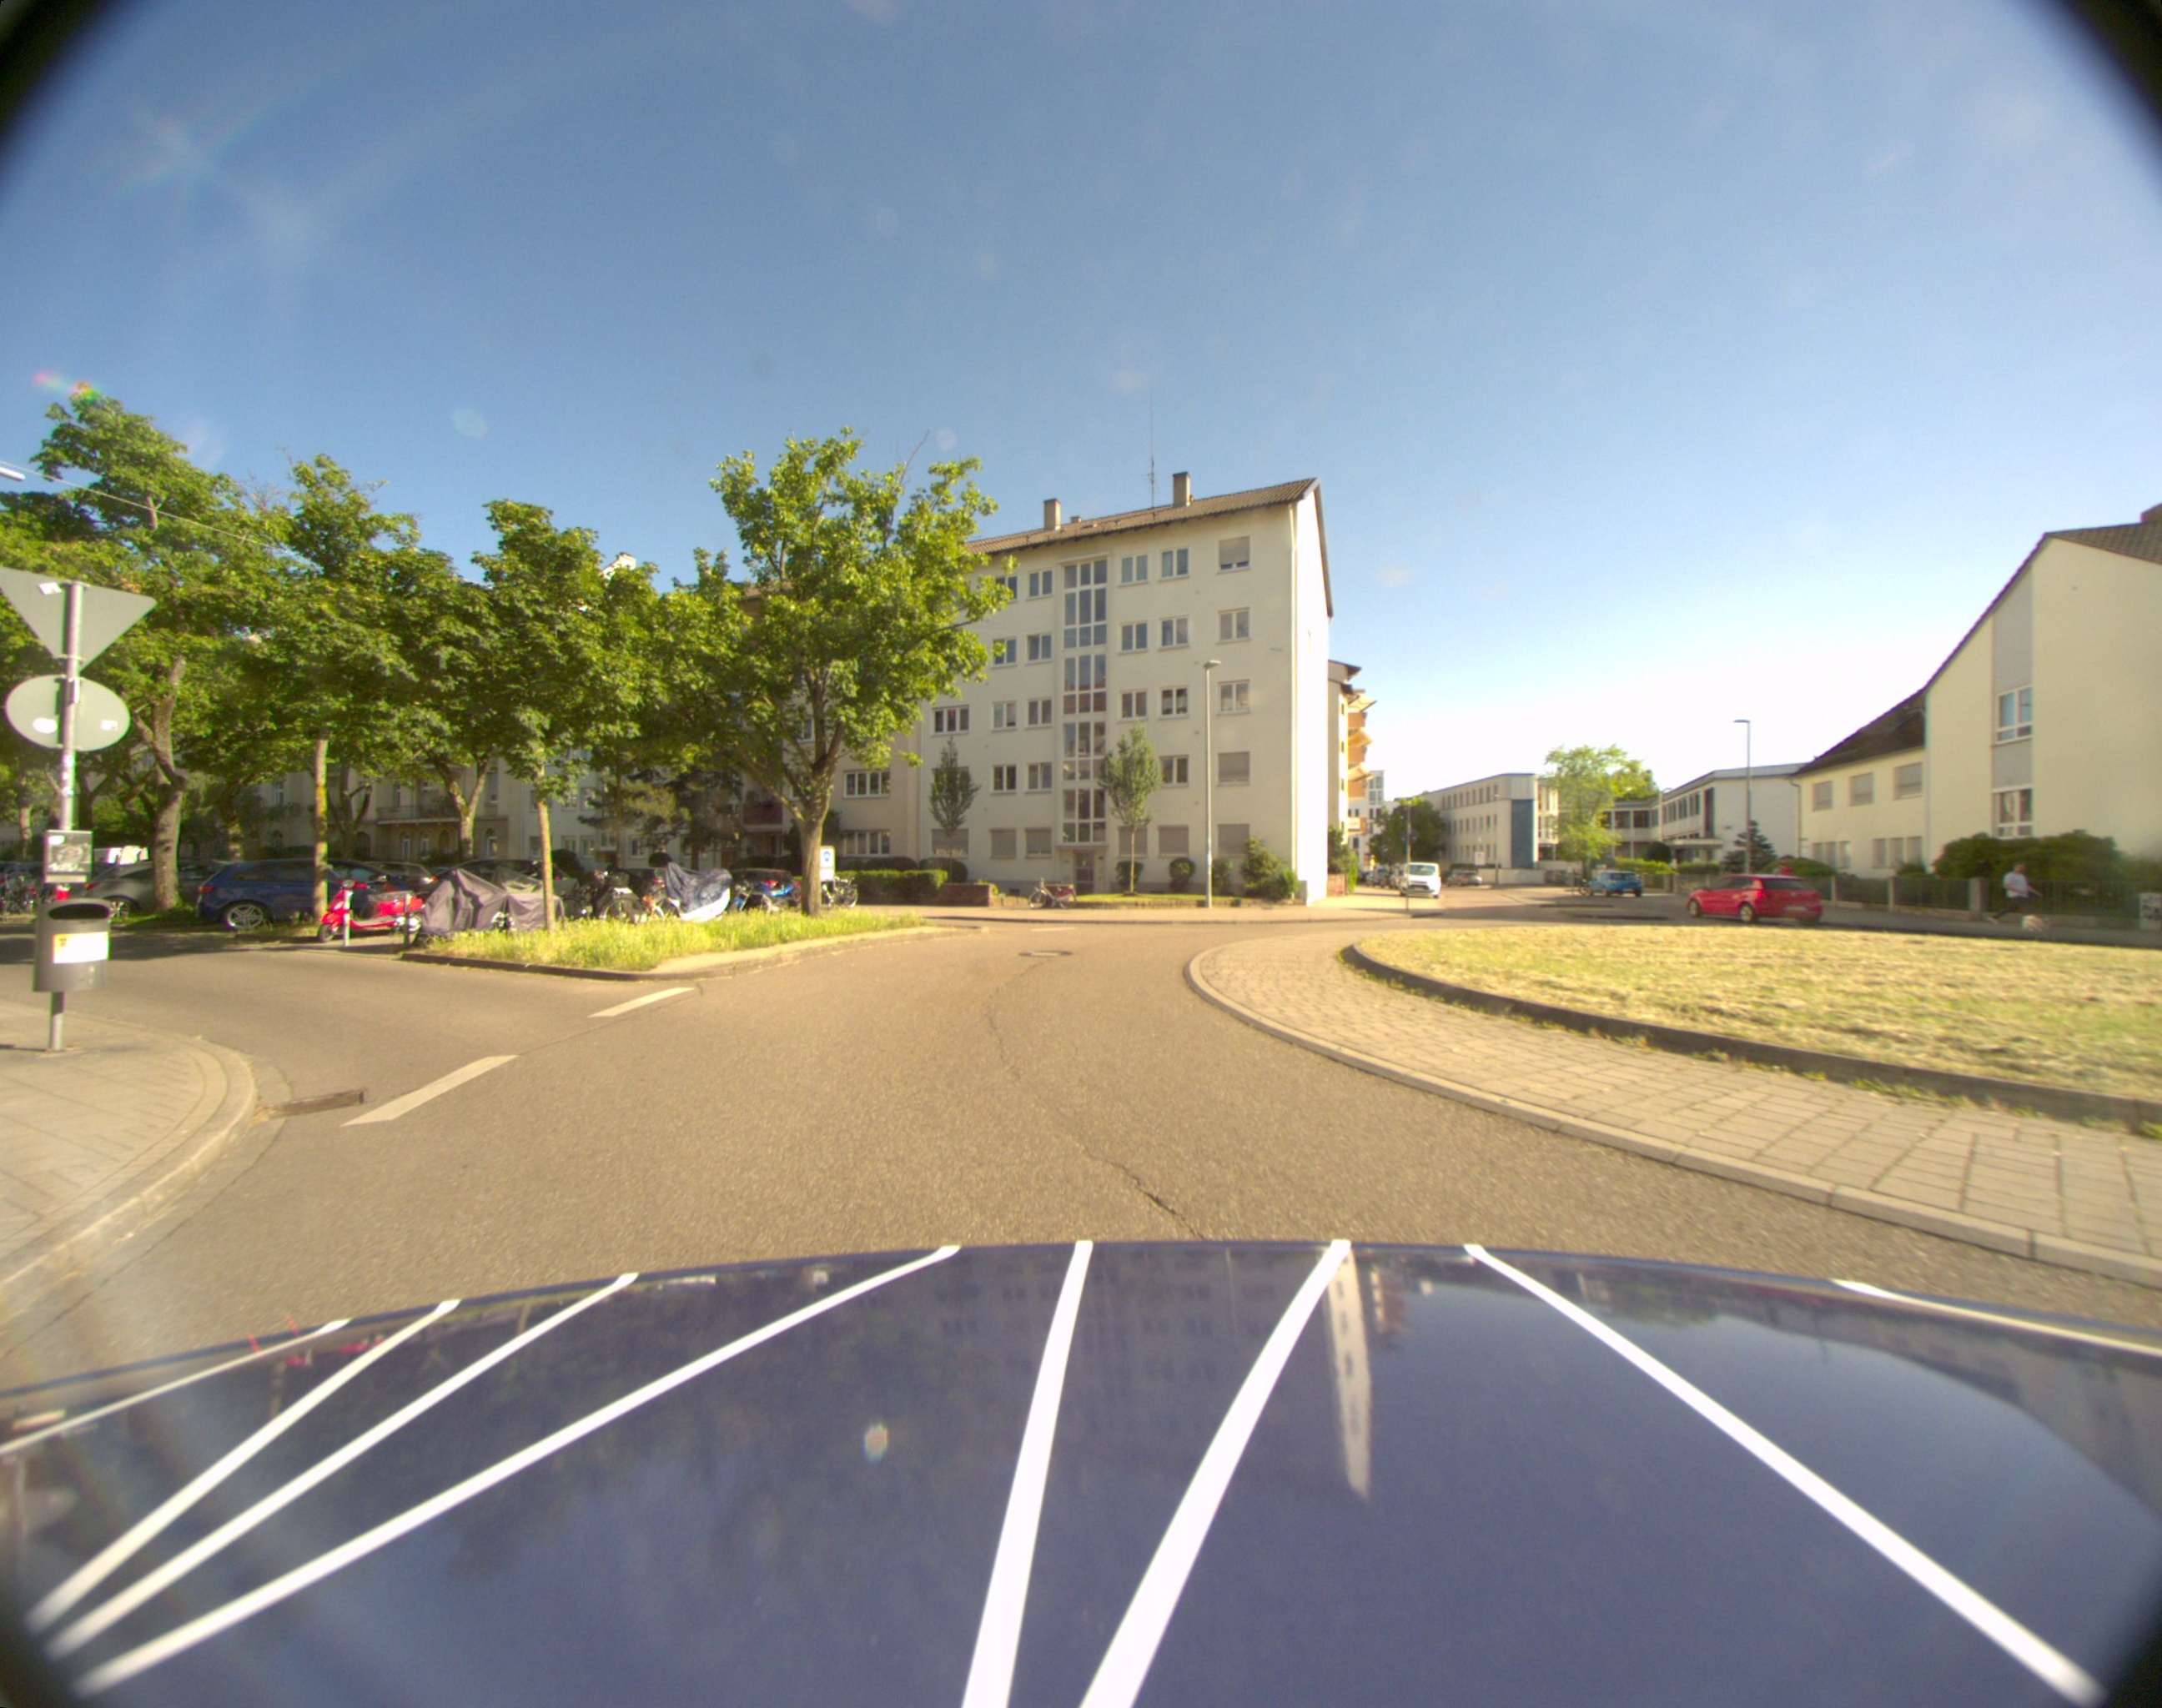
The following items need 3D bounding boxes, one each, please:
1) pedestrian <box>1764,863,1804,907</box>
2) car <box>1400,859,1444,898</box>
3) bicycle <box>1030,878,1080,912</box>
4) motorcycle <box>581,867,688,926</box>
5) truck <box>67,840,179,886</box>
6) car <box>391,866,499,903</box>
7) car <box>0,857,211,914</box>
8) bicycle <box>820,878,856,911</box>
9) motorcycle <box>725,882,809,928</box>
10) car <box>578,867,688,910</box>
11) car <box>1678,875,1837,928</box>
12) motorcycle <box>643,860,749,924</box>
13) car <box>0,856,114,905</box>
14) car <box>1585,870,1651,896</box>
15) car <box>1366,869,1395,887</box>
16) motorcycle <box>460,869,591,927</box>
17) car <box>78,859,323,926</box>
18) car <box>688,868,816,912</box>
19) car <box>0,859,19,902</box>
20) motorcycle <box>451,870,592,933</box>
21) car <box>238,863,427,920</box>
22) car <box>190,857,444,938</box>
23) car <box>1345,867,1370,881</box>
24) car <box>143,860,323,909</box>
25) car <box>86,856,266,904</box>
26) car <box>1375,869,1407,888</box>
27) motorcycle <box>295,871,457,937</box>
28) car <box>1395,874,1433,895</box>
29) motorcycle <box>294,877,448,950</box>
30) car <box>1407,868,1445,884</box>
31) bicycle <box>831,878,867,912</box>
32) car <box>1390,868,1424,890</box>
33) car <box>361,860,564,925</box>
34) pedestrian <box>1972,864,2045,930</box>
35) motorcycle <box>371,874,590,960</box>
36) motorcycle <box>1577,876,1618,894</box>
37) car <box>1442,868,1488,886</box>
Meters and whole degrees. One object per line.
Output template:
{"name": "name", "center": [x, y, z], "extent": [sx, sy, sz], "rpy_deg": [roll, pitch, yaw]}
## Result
{"name": "pedestrian", "center": [27.932, 1.229, 30.197], "extent": [0.818, 1.695, 0.999], "rpy_deg": [-1, -1, 21]}
{"name": "car", "center": [19.454, 1.376, 43.193], "extent": [1.994, 2.002, 4.807], "rpy_deg": [3, 0, 26]}
{"name": "bicycle", "center": [-0.863, 1.365, 25.511], "extent": [1.621, 1.072, 0.385], "rpy_deg": [0, 2, 17]}
{"name": "motorcycle", "center": [-11.234, 1.022, 19.206], "extent": [1.060, 1.384, 2.131], "rpy_deg": [0, 0, 21]}
{"name": "truck", "center": [-57.494, 0.544, 45.616], "extent": [5.893, 2.660, 2.416], "rpy_deg": [0, -1, 20]}
{"name": "car", "center": [-27.516, 1.297, 32.895], "extent": [3.991, 1.476, 1.788], "rpy_deg": [0, -1, 20]}
{"name": "car", "center": [-29.265, 0.897, 22.766], "extent": [4.009, 1.581, 1.881], "rpy_deg": [1, -1, -42]}
{"name": "bicycle", "center": [-8.449, 1.391, 26.438], "extent": [0.330, 1.051, 1.452], "rpy_deg": [0, 2, 21]}
{"name": "motorcycle", "center": [-7.691, 1.223, 18.692], "extent": [0.812, 1.066, 1.849], "rpy_deg": [0, -2, 23]}
{"name": "car", "center": [-16.914, 1.277, 28.643], "extent": [3.989, 1.476, 1.789], "rpy_deg": [0, -2, 30]}
{"name": "car", "center": [20.198, 1.347, 22.938], "extent": [1.714, 1.374, 4.004], "rpy_deg": [2, -1, 10]}
{"name": "motorcycle", "center": [-8.443, 0.798, 16.778], "extent": [0.861, 1.320, 2.057], "rpy_deg": [0, 0, 20]}
{"name": "car", "center": [-35.330, 0.864, 25.027], "extent": [4.009, 1.581, 1.881], "rpy_deg": [1, -1, -42]}
{"name": "car", "center": [30.790, 1.636, 43.683], "extent": [1.882, 1.425, 4.421], "rpy_deg": [-1, -2, 18]}
{"name": "car", "center": [28.434, 2.257, 72.259], "extent": [1.756, 1.445, 4.003], "rpy_deg": [4, 0, 10]}
{"name": "motorcycle", "center": [-12.974, 0.991, 17.850], "extent": [1.049, 1.260, 2.246], "rpy_deg": [0, -1, 23]}
{"name": "car", "center": [-22.803, 0.951, 19.946], "extent": [4.009, 1.581, 1.702], "rpy_deg": [1, -1, -42]}
{"name": "car", "center": [-11.507, 1.222, 26.596], "extent": [3.990, 1.403, 1.836], "rpy_deg": [0, -2, 23]}
{"name": "car", "center": [-41.875, 0.972, 27.303], "extent": [4.009, 1.581, 1.881], "rpy_deg": [1, -1, -42]}
{"name": "motorcycle", "center": [-12.193, 0.997, 16.661], "extent": [1.049, 1.260, 2.246], "rpy_deg": [0, -1, 23]}
{"name": "car", "center": [-22.793, 1.084, 23.334], "extent": [4.009, 1.588, 1.874], "rpy_deg": [1, -1, -43]}
{"name": "car", "center": [-17.046, 0.910, 17.275], "extent": [3.885, 1.630, 1.798], "rpy_deg": [1, -1, -39]}
{"name": "car", "center": [39.513, 2.841, 108.796], "extent": [2.137, 1.799, 4.838], "rpy_deg": [-1, -1, 4]}
{"name": "car", "center": [-28.797, 0.982, 26.028], "extent": [4.009, 1.539, 1.776], "rpy_deg": [1, -1, -45]}
{"name": "car", "center": [-34.673, 0.969, 29.283], "extent": [4.006, 1.713, 1.882], "rpy_deg": [1, 0, -27]}
{"name": "car", "center": [27.637, 2.181, 67.817], "extent": [1.755, 1.445, 4.004], "rpy_deg": [4, 0, 11]}
{"name": "motorcycle", "center": [-14.711, 0.991, 15.944], "extent": [1.049, 1.260, 2.246], "rpy_deg": [0, -1, 23]}
{"name": "car", "center": [24.746, 2.256, 56.608], "extent": [1.755, 1.386, 4.005], "rpy_deg": [4, 0, 13]}
{"name": "motorcycle", "center": [-13.229, 1.064, 14.237], "extent": [0.887, 1.229, 1.898], "rpy_deg": [0, -1, 23]}
{"name": "car", "center": [37.535, 2.382, 82.771], "extent": [2.137, 1.603, 4.838], "rpy_deg": [-1, -1, 4]}
{"name": "bicycle", "center": [-8.011, 1.391, 26.260], "extent": [0.330, 1.051, 1.452], "rpy_deg": [0, 2, 21]}
{"name": "car", "center": [26.059, 1.971, 60.894], "extent": [1.755, 1.632, 4.005], "rpy_deg": [4, 0, 14]}
{"name": "car", "center": [-16.708, 0.973, 20.673], "extent": [1.994, 1.588, 4.009], "rpy_deg": [-1, -1, 41]}
{"name": "pedestrian", "center": [24.499, 1.116, 20.079], "extent": [0.692, 1.695, 0.996], "rpy_deg": [0, -1, -14]}
{"name": "motorcycle", "center": [-10.163, 1.000, 13.072], "extent": [1.124, 1.260, 2.788], "rpy_deg": [0, -1, 18]}
{"name": "motorcycle", "center": [31.838, 1.899, 46.871], "extent": [0.592, 1.088, 1.959], "rpy_deg": [1, -2, -43]}
{"name": "car", "center": [36.792, 2.163, 72.886], "extent": [2.137, 1.603, 4.837], "rpy_deg": [-1, -1, 3]}
